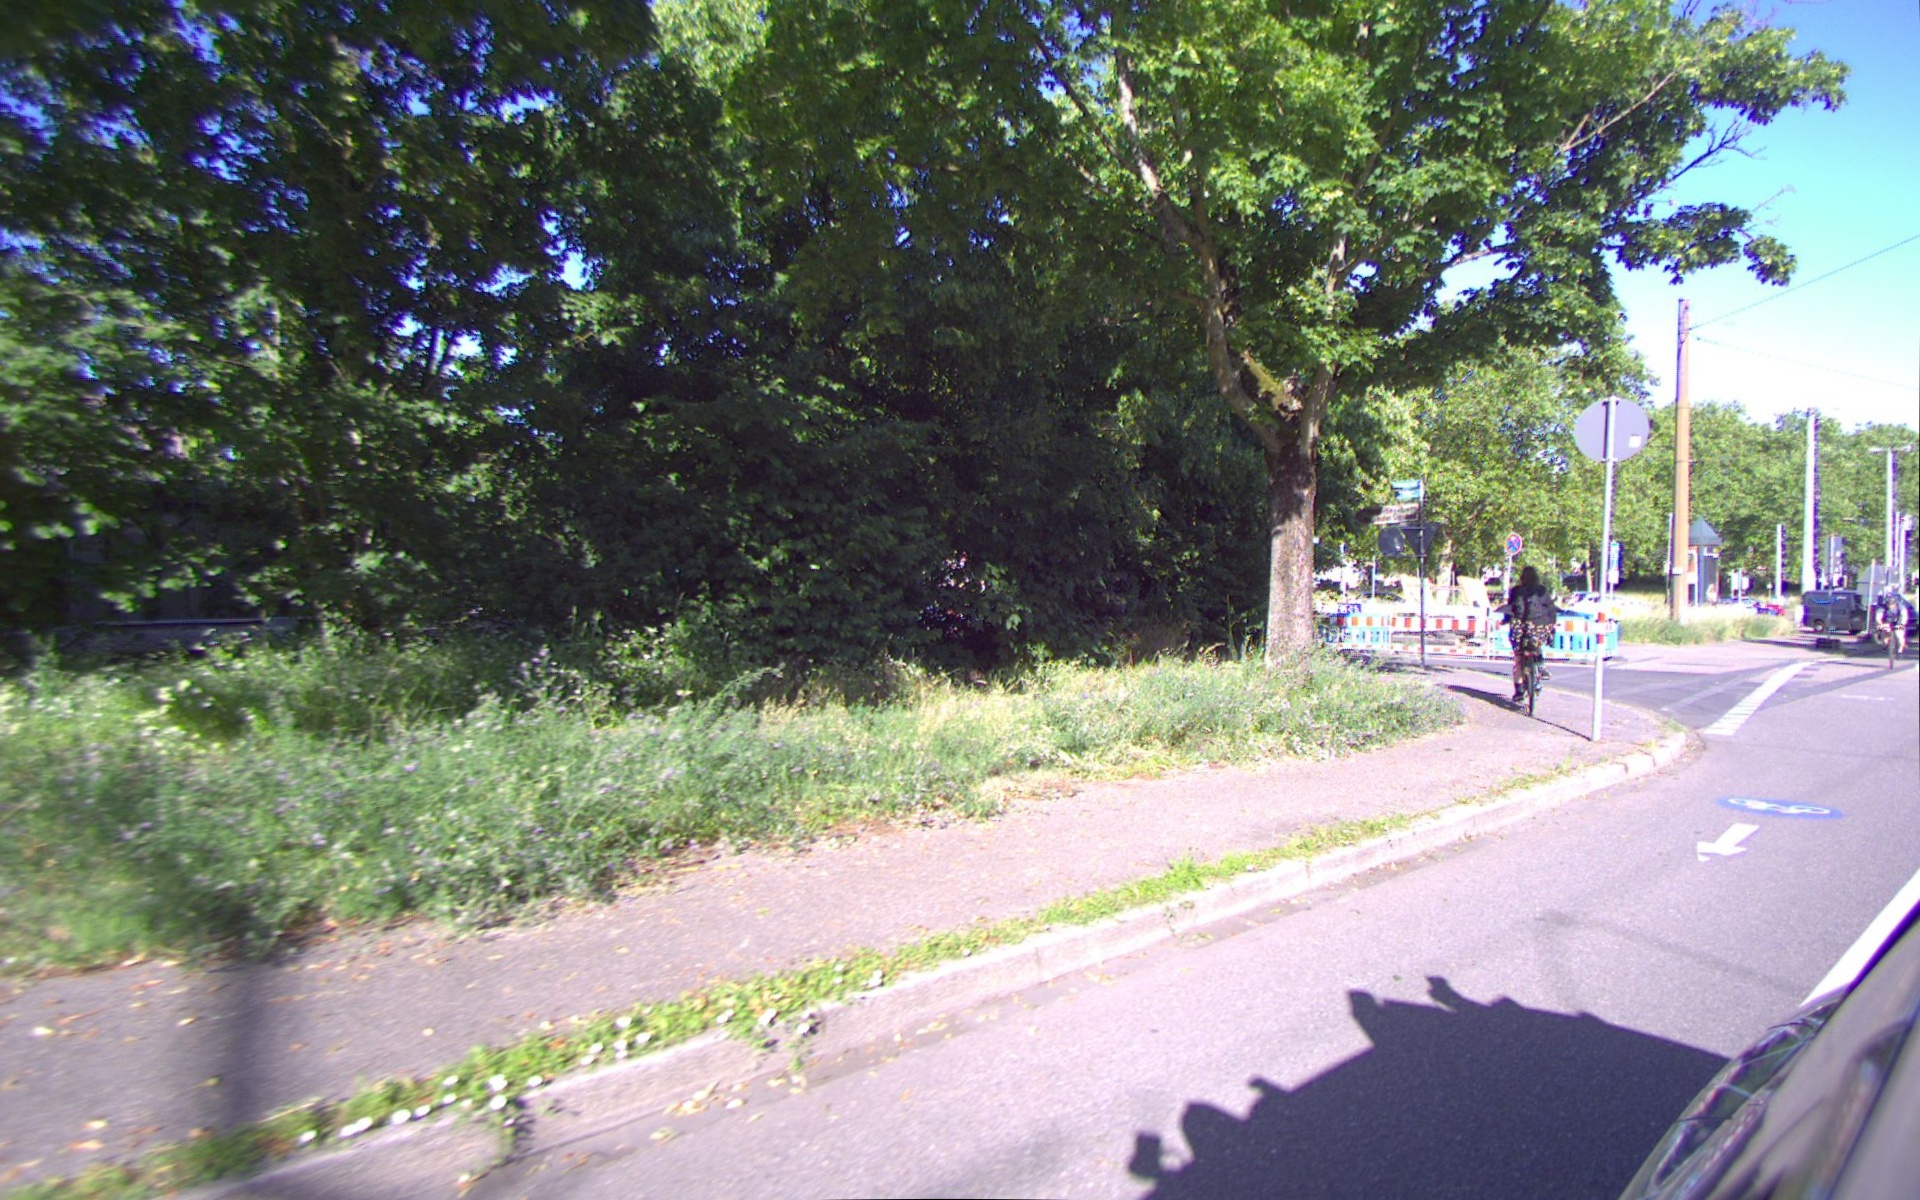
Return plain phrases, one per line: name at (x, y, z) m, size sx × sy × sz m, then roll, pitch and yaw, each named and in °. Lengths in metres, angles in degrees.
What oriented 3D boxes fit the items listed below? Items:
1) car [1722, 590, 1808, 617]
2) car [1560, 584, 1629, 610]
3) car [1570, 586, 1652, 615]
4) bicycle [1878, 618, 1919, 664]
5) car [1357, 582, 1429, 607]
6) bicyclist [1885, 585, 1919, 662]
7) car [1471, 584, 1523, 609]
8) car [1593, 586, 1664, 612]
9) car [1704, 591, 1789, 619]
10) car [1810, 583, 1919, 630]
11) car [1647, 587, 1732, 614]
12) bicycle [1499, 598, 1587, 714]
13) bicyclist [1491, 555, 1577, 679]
car at (52.335, 0.224, 65.873) m, size 4.054 × 1.620 × 1.798 m, roll 2°, pitch 1°, yaw 29°
car at (45.411, -0.240, 72.523) m, size 3.959 × 1.638 × 1.983 m, roll 2°, pitch 2°, yaw 26°
car at (42.744, 0.012, 66.543) m, size 4.231 × 1.699 × 1.918 m, roll 2°, pitch 1°, yaw 25°
bicycle at (21.872, 0.939, 23.453) m, size 2.051 × 0.934 × 0.525 m, roll -1°, pitch 2°, yaw -37°
car at (31.352, -0.399, 73.284) m, size 4.727 × 1.703 × 1.893 m, roll 0°, pitch 2°, yaw 26°
bicyclist at (21.775, 0.520, 23.237) m, size 0.916 × 1.700 × 0.617 m, roll 0°, pitch 2°, yaw -38°
car at (38.582, -0.276, 72.745) m, size 3.175 × 1.635 × 1.362 m, roll 1°, pitch 5°, yaw 25°
car at (45.833, -0.101, 69.468) m, size 3.826 × 1.620 × 1.696 m, roll 2°, pitch 1°, yaw 29°
car at (49.000, 0.300, 63.107) m, size 3.817 × 1.620 × 1.700 m, roll 2°, pitch 1°, yaw 24°
car at (44.605, 0.241, 49.158) m, size 2.089 × 2.096 × 5.125 m, roll 0°, pitch 2°, yaw -3°
car at (50.735, -0.009, 70.493) m, size 4.448 × 1.732 × 1.905 m, roll 1°, pitch 2°, yaw 25°
bicycle at (7.021, 0.621, 12.124) m, size 0.617 × 1.204 × 2.475 m, roll 7°, pitch 3°, yaw 34°
bicyclist at (6.802, 0.182, 11.984) m, size 0.753 × 1.385 × 0.796 m, roll 3°, pitch 1°, yaw 36°
